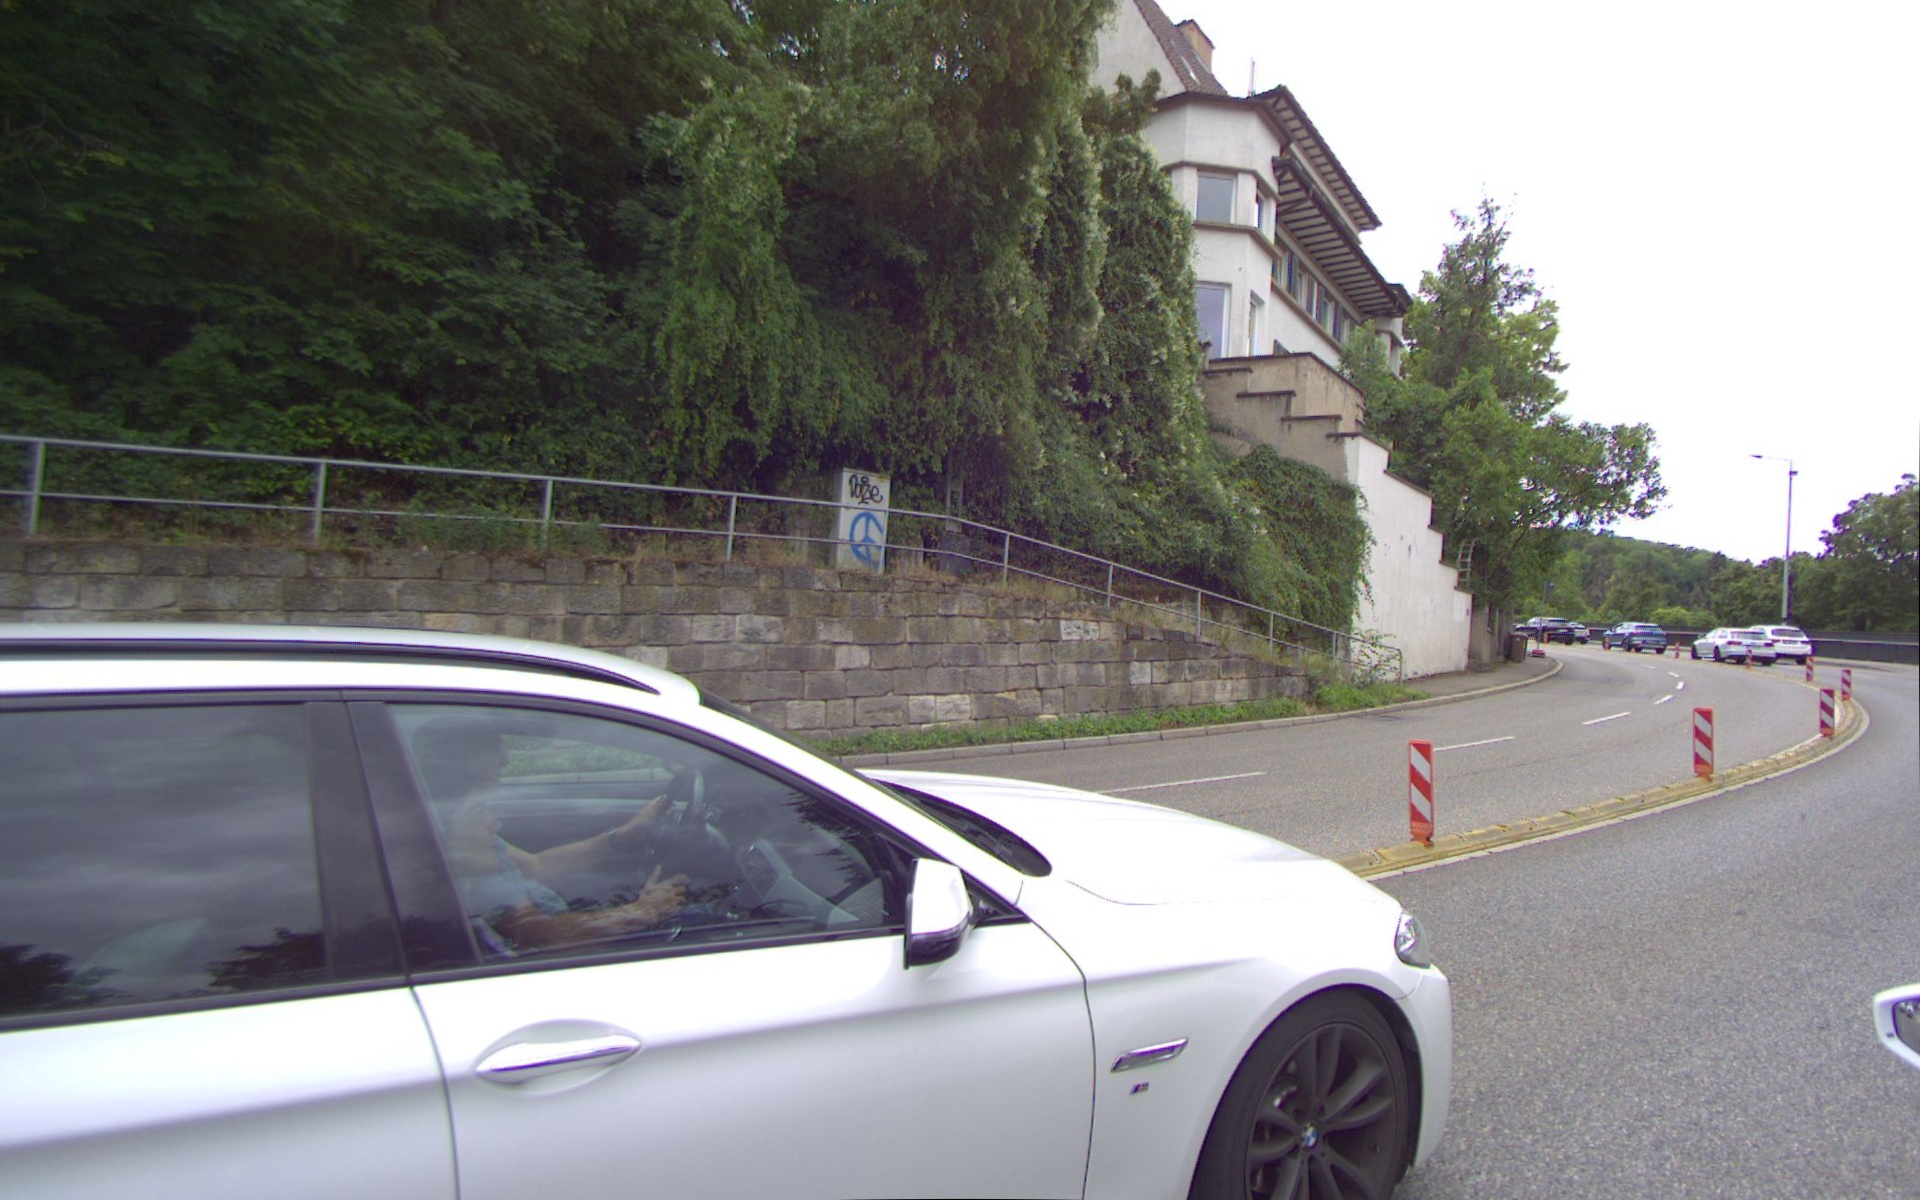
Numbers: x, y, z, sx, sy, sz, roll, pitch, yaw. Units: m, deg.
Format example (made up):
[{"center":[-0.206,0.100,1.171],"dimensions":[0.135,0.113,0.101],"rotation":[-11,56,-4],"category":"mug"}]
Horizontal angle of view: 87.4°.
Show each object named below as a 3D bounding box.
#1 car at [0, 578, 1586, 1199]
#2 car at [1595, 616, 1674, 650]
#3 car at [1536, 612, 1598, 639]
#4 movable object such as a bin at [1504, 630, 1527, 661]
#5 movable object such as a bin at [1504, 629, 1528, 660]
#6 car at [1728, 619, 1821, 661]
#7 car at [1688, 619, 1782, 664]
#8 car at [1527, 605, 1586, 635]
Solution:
[{"center":[-0.852,0.780,2.294],"dimensions":[4.823,1.486,1.838],"rotation":[3,1,-31],"category":"car"},{"center":[35.762,1.727,53.396],"dimensions":[1.959,1.561,4.012],"rotation":[3,1,10],"category":"car"},{"center":[40.845,1.682,67.690],"dimensions":[1.669,1.546,3.530],"rotation":[3,1,-8],"category":"car"},{"center":[18.238,1.475,32.976],"dimensions":[0.598,0.961,0.555],"rotation":[4,1,31],"category":"movable object such as a bin"},{"center":[18.526,1.485,33.465],"dimensions":[0.598,0.961,0.579],"rotation":[4,1,31],"category":"movable object such as a bin"},{"center":[36.479,1.753,45.112],"dimensions":[1.961,1.607,4.000],"rotation":[4,1,20],"category":"car"},{"center":[32.415,1.687,42.159],"dimensions":[1.875,1.595,4.000],"rotation":[4,1,19],"category":"car"},{"center":[38.015,1.218,64.088],"dimensions":[1.784,1.712,4.002],"rotation":[3,1,9],"category":"car"}]
